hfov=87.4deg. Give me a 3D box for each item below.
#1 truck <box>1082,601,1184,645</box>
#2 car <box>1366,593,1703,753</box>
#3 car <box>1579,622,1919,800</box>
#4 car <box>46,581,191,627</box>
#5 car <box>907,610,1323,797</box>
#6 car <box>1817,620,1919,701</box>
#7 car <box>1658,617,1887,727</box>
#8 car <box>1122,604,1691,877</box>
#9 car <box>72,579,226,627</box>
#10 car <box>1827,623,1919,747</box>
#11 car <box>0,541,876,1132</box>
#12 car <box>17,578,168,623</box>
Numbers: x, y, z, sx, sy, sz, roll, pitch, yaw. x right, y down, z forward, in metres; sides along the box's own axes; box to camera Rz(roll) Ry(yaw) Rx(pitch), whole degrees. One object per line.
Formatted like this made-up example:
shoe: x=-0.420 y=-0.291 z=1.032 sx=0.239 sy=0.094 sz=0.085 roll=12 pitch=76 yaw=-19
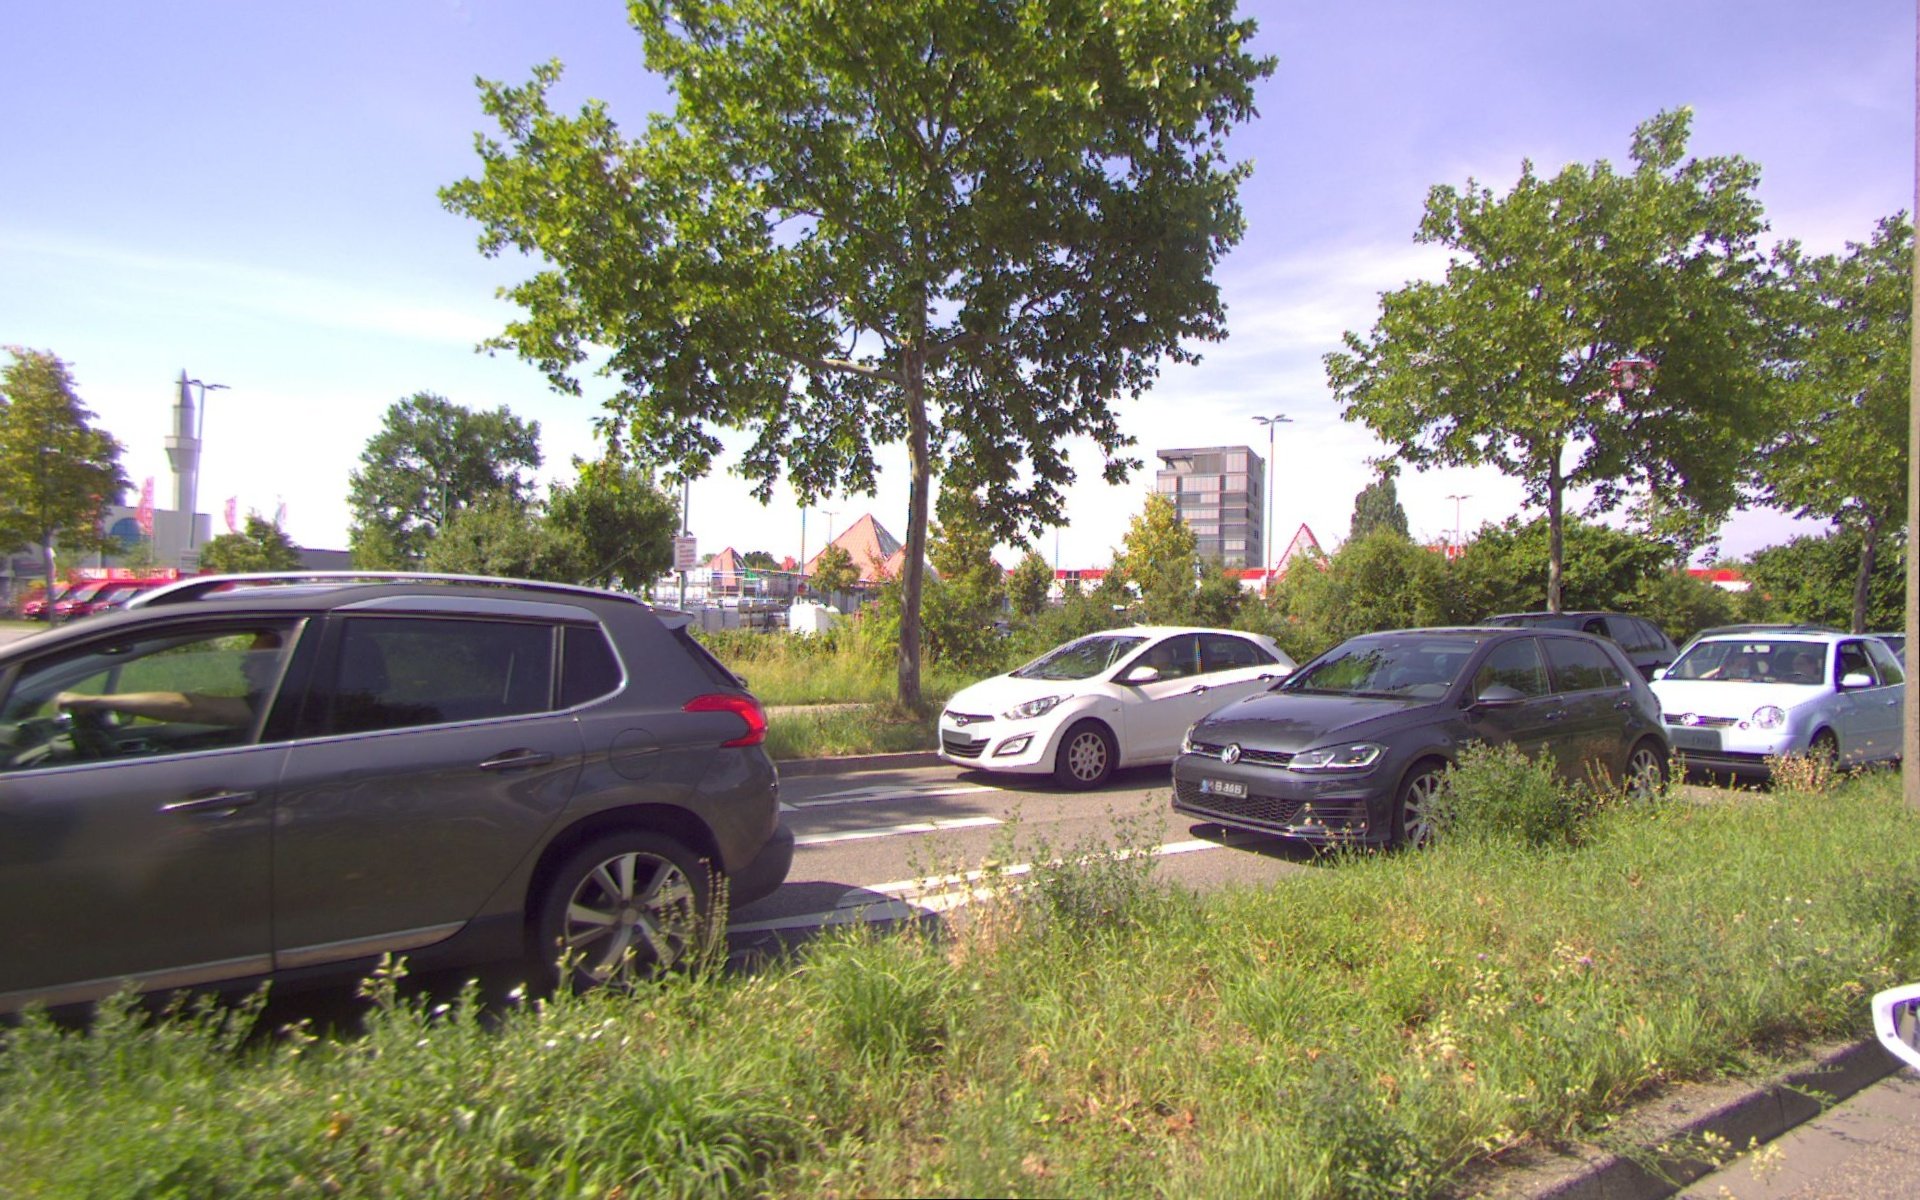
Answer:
truck: x=9.032 y=1.161 z=52.302 sx=5.120 sy=2.156 sz=2.001 roll=1 pitch=-1 yaw=14
car: x=7.559 y=0.891 z=13.065 sx=4.716 sy=1.759 sz=1.812 roll=2 pitch=-2 yaw=-32
car: x=8.154 y=0.983 z=10.150 sx=3.770 sy=1.491 sz=1.681 roll=1 pitch=-2 yaw=-30
car: x=-49.431 y=0.277 z=59.183 sx=2.344 sy=2.563 sz=6.118 roll=1 pitch=-1 yaw=27
car: x=1.624 y=0.920 z=10.134 sx=4.037 sy=1.550 sz=1.680 roll=1 pitch=-2 yaw=-31
car: x=19.516 y=1.193 z=20.687 sx=3.893 sy=1.550 sz=1.681 roll=1 pitch=-2 yaw=-30
car: x=13.800 y=1.150 z=17.023 sx=4.129 sy=1.668 sz=1.681 roll=1 pitch=-2 yaw=-31
car: x=3.341 y=0.836 z=7.316 sx=4.169 sy=1.493 sz=1.681 roll=1 pitch=-2 yaw=-31
car: x=-46.315 y=0.202 z=57.580 sx=2.344 sy=2.563 sz=6.430 roll=1 pitch=-1 yaw=27
car: x=14.056 y=1.106 z=13.849 sx=4.771 sy=1.550 sz=1.750 roll=1 pitch=-2 yaw=-31
car: x=-2.562 y=0.670 z=3.749 sx=4.190 sy=1.607 sz=1.681 roll=1 pitch=-2 yaw=-31
car: x=-51.960 y=0.085 z=60.365 sx=2.344 sy=2.563 sz=6.430 roll=1 pitch=-1 yaw=27
